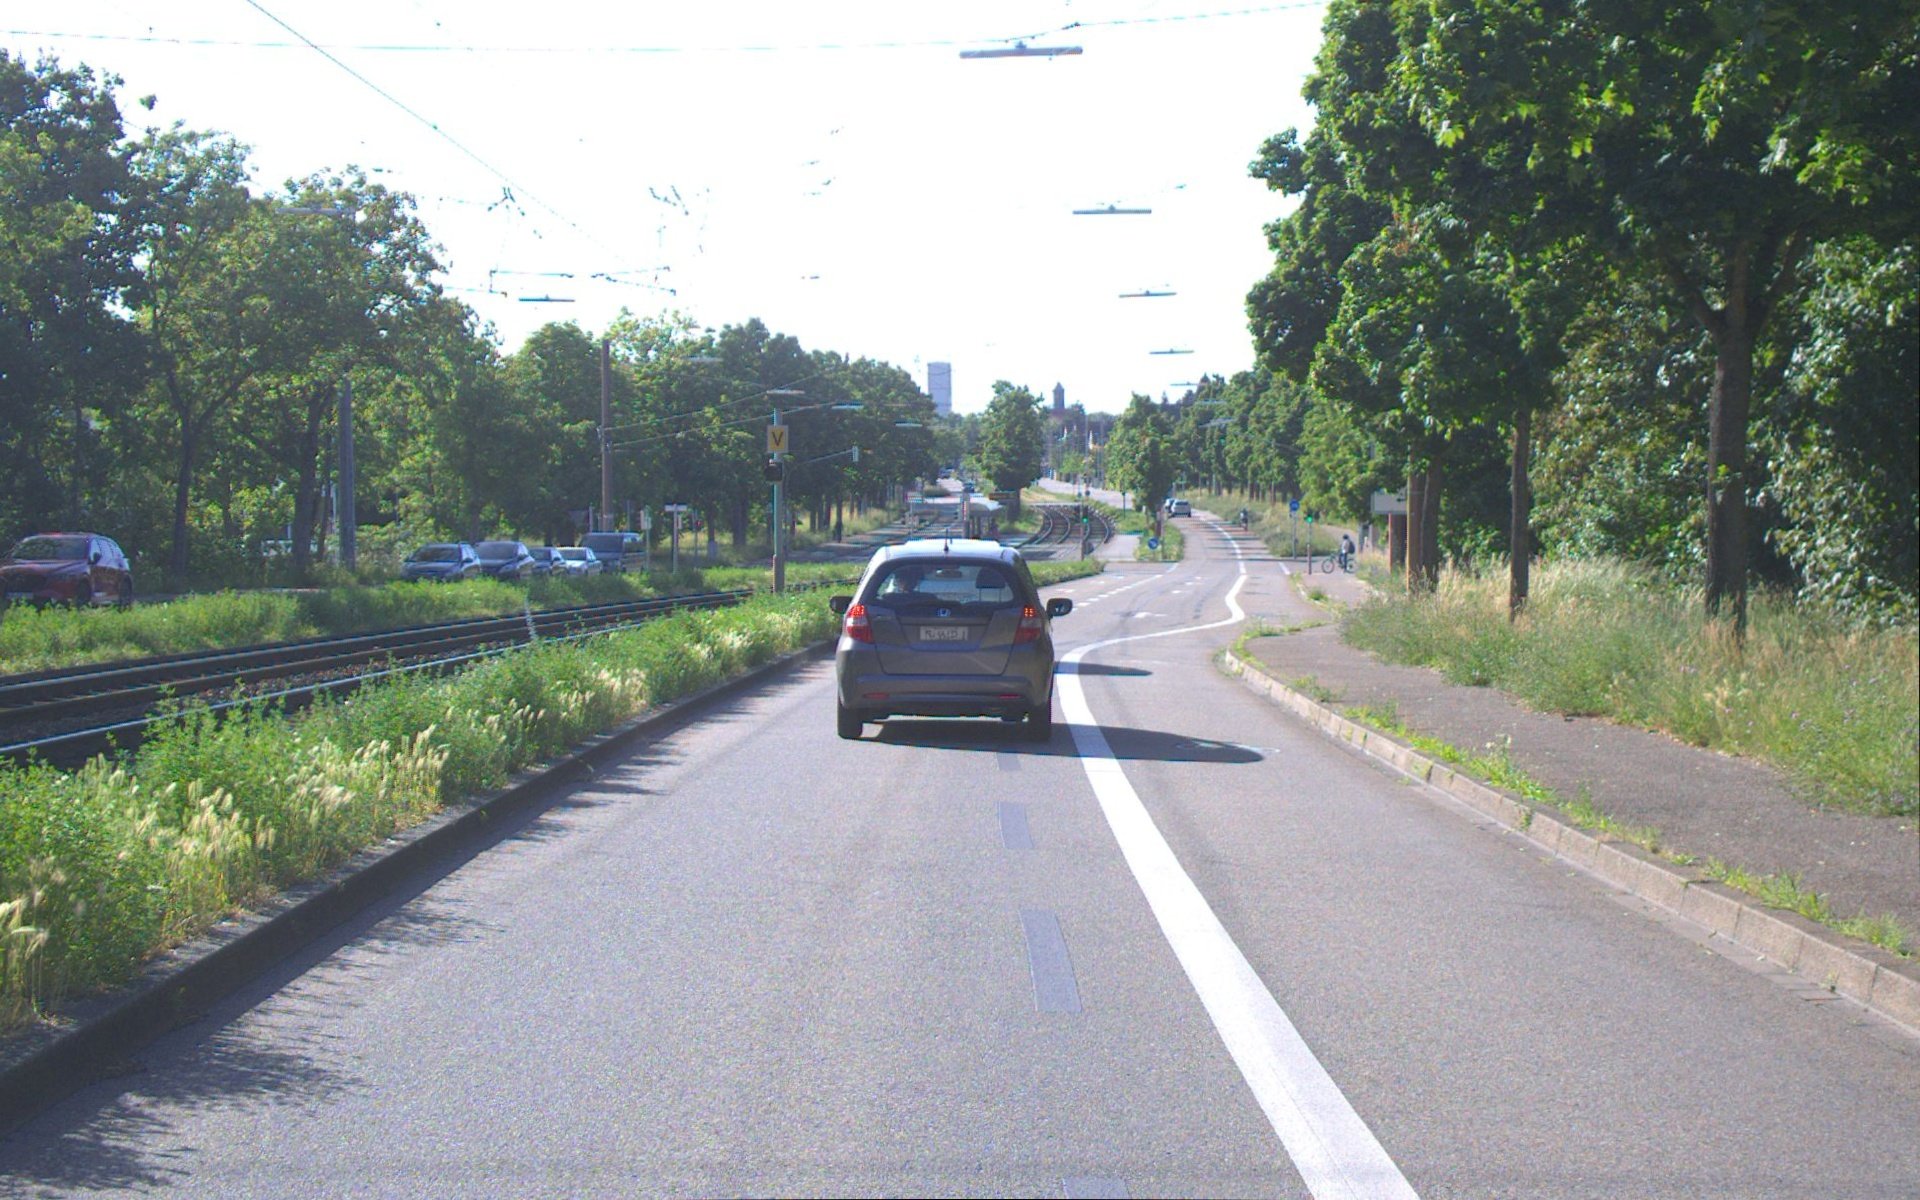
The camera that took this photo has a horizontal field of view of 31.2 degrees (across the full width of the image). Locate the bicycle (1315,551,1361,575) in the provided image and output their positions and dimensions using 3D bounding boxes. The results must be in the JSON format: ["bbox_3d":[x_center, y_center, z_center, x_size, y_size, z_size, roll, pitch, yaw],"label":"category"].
[{"bbox_3d":[17.152,-1.683,156.022,1.921,0.994,0.764,-2,0,16],"label":"bicycle"}]

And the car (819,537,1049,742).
[{"bbox_3d":[-0.174,0.259,27.921,1.707,1.503,4.000,1,1,1],"label":"car"}]

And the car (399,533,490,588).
[{"bbox_3d":[-14.878,-1.144,99.417,1.735,1.489,4.327,2,1,3],"label":"car"}]

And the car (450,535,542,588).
[{"bbox_3d":[-14.312,-1.198,106.211,1.994,1.569,4.435,1,1,4],"label":"car"}]

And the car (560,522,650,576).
[{"bbox_3d":[-12.812,-1.853,124.462,2.197,1.885,4.790,1,1,7],"label":"car"}]

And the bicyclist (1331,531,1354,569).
[{"bbox_3d":[17.343,-2.270,155.956,0.911,1.739,0.764,-1,0,16],"label":"bicyclist"}]

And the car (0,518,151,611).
[{"bbox_3d":[-17.088,-0.691,65.551,2.004,1.696,4.466,1,1,4],"label":"car"}]

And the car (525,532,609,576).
[{"bbox_3d":[-13.463,-1.586,118.128,1.928,1.432,4.694,1,1,5],"label":"car"}]

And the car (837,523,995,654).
[{"bbox_3d":[-0.521,-0.185,44.524,1.851,1.601,4.255,1,1,2],"label":"car"}]

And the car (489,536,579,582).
[{"bbox_3d":[-13.889,-1.362,112.274,1.994,1.432,4.414,1,1,5],"label":"car"}]
